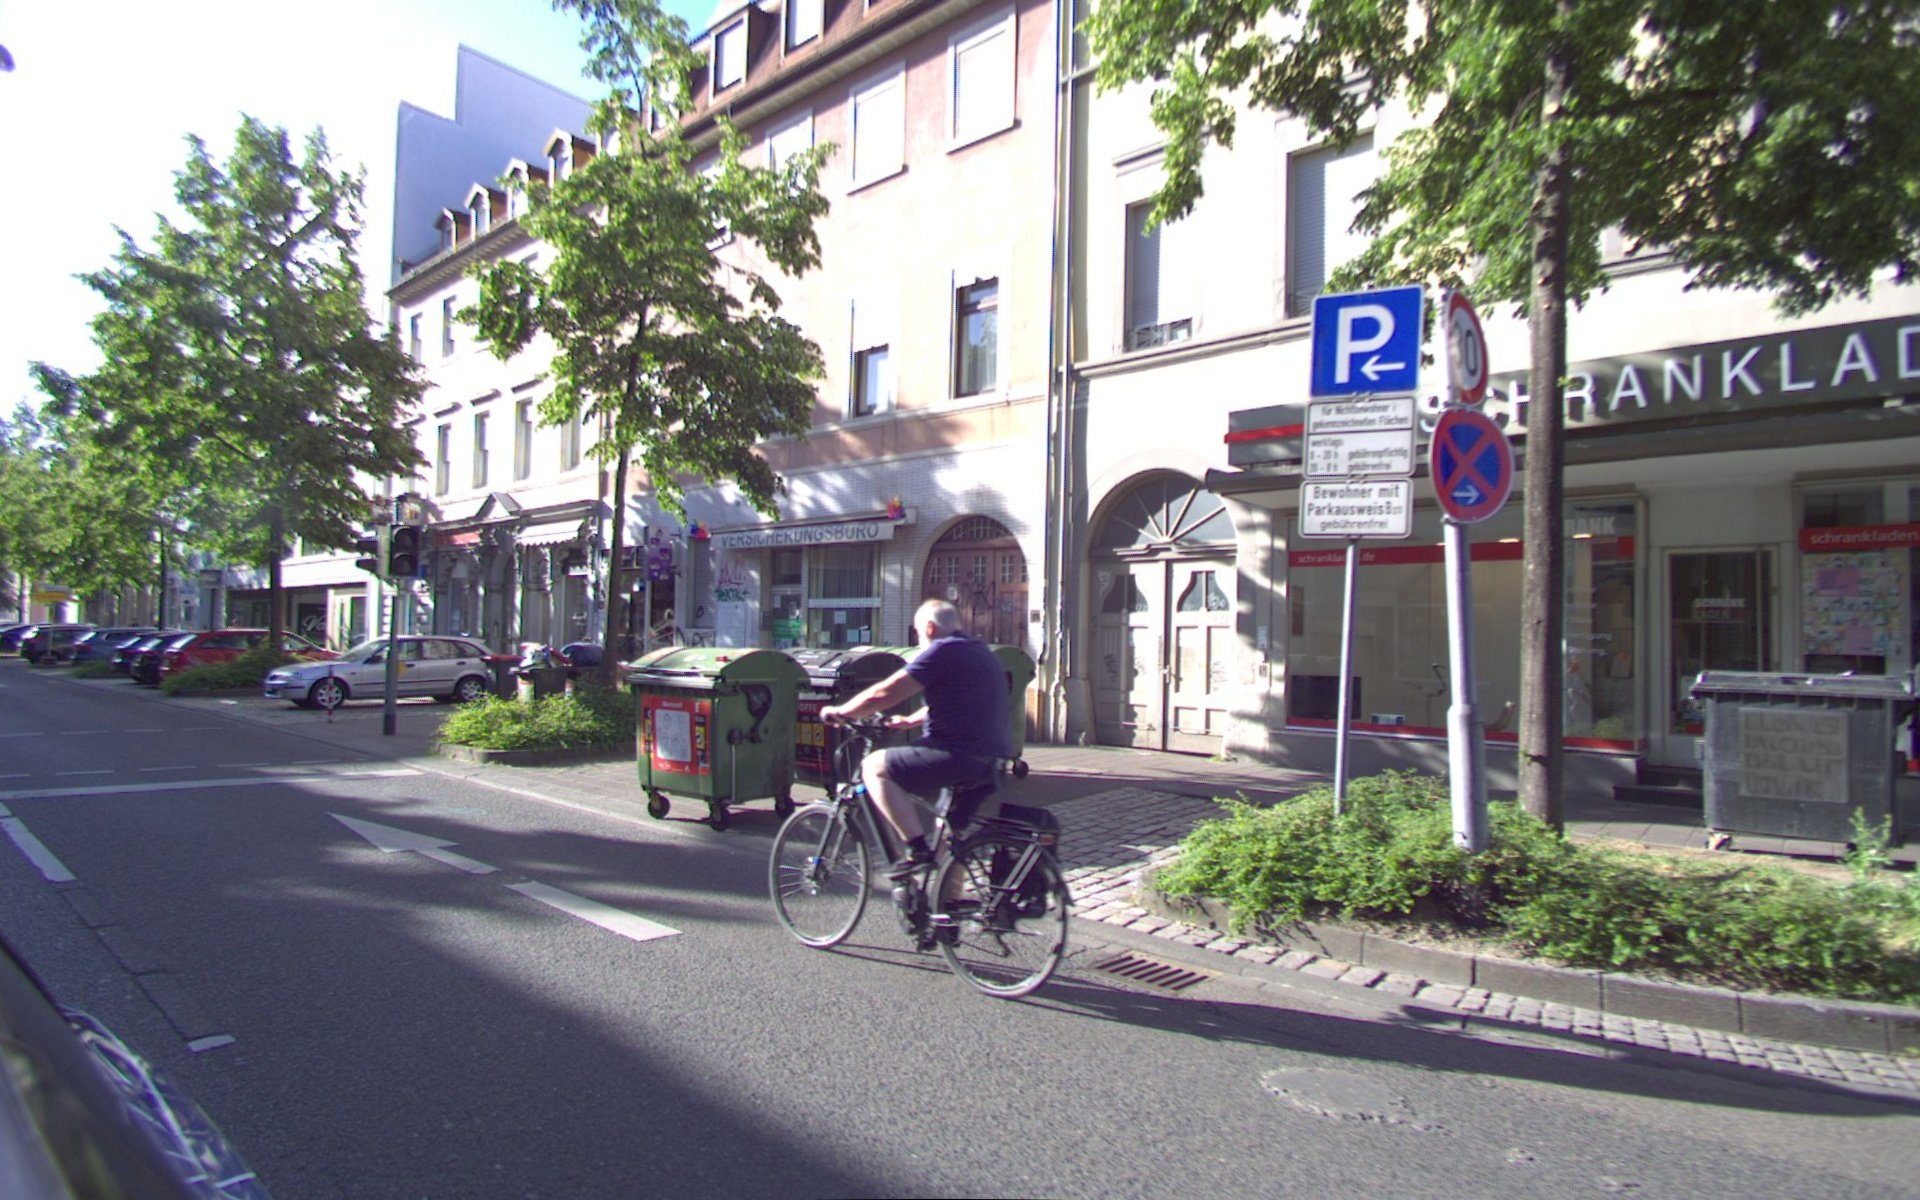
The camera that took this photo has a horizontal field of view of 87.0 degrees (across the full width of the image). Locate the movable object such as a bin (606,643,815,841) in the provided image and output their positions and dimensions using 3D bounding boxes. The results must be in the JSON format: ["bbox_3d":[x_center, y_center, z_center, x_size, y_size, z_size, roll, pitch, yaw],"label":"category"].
[{"bbox_3d":[-2.116,1.121,8.575,1.451,1.483,1.031,-1,-4,40],"label":"movable object such as a bin"}]

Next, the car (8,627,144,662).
[{"bbox_3d":[-38.946,1.966,44.667,1.977,1.470,4.205,-1,-3,37],"label":"car"}]

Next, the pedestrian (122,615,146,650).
[{"bbox_3d":[-42.444,1.665,52.027,0.762,1.779,0.767,-1,1,39],"label":"pedestrian"}]

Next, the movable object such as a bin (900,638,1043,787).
[{"bbox_3d":[0.131,1.174,10.964,1.142,1.483,1.031,-1,-4,40],"label":"movable object such as a bin"}]

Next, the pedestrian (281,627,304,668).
[{"bbox_3d":[-23.519,1.659,35.652,0.502,1.419,0.825,2,-3,-44],"label":"pedestrian"}]

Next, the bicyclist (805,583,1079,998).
[{"bbox_3d":[-0.073,0.785,4.662,1.032,1.665,0.691,-1,-3,31],"label":"bicyclist"}]

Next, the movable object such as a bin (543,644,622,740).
[{"bbox_3d":[-5.585,1.340,14.981,0.804,1.351,0.747,-1,-4,40],"label":"movable object such as a bin"}]

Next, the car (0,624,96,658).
[{"bbox_3d":[-44.677,1.967,48.819,1.945,1.582,4.320,-2,-3,41],"label":"car"}]

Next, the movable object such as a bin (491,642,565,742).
[{"bbox_3d":[-6.127,1.285,14.349,0.804,1.351,0.628,-1,-4,40],"label":"movable object such as a bin"}]

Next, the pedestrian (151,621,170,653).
[{"bbox_3d":[-38.292,1.772,48.487,0.842,1.505,0.586,-2,-1,43],"label":"pedestrian"}]

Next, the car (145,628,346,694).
[{"bbox_3d":[-17.401,1.445,24.766,1.738,1.479,3.709,-1,-3,41],"label":"car"}]

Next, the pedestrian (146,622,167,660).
[{"bbox_3d":[-38.728,1.963,48.784,0.690,1.811,0.747,2,-3,-37],"label":"pedestrian"}]

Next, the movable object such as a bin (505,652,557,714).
[{"bbox_3d":[-7.748,1.487,18.266,0.804,1.077,0.525,-1,-4,40],"label":"movable object such as a bin"}]

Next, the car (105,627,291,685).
[{"bbox_3d":[-21.157,1.518,28.210,1.770,1.497,3.876,-2,-3,42],"label":"car"}]

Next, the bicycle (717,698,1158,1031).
[{"bbox_3d":[-0.144,1.088,4.691,1.960,1.155,0.700,0,-3,31],"label":"bicycle"}]

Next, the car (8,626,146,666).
[{"bbox_3d":[-34.385,1.782,39.475,1.778,1.470,3.744,-1,-3,38],"label":"car"}]

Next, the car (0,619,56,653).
[{"bbox_3d":[-51.624,1.938,54.563,2.038,1.850,4.062,-2,-3,41],"label":"car"}]

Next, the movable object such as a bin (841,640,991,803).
[{"bbox_3d":[-0.437,1.157,10.104,1.142,1.483,0.954,-1,-3,40],"label":"movable object such as a bin"}]

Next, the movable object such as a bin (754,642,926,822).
[{"bbox_3d":[-1.089,1.138,9.209,1.142,1.483,1.031,-1,-4,40],"label":"movable object such as a bin"}]

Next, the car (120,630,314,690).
[{"bbox_3d":[-19.354,1.529,26.470,1.789,1.440,3.799,-2,-3,42],"label":"car"}]

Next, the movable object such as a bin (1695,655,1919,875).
[{"bbox_3d":[6.009,1.080,7.089,1.313,1.355,1.031,-1,-4,40],"label":"movable object such as a bin"}]

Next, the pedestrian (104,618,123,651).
[{"bbox_3d":[-42.971,1.758,51.363,0.726,1.639,0.559,-1,1,39],"label":"pedestrian"}]

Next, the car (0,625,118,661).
[{"bbox_3d":[-42.485,2.007,47.456,1.979,1.582,4.320,-2,-3,41],"label":"car"}]

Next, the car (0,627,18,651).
[{"bbox_3d":[-61.352,2.439,63.018,1.708,1.475,3.741,-2,-2,38],"label":"car"}]

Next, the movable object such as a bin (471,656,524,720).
[{"bbox_3d":[-8.121,1.530,17.775,0.804,1.077,0.525,-1,-4,40],"label":"movable object such as a bin"}]

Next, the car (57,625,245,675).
[{"bbox_3d":[-25.960,1.554,32.603,1.788,1.470,4.449,-1,-2,39],"label":"car"}]

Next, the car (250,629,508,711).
[{"bbox_3d":[-11.548,1.333,20.311,1.740,1.479,4.156,-2,-3,43],"label":"car"}]
